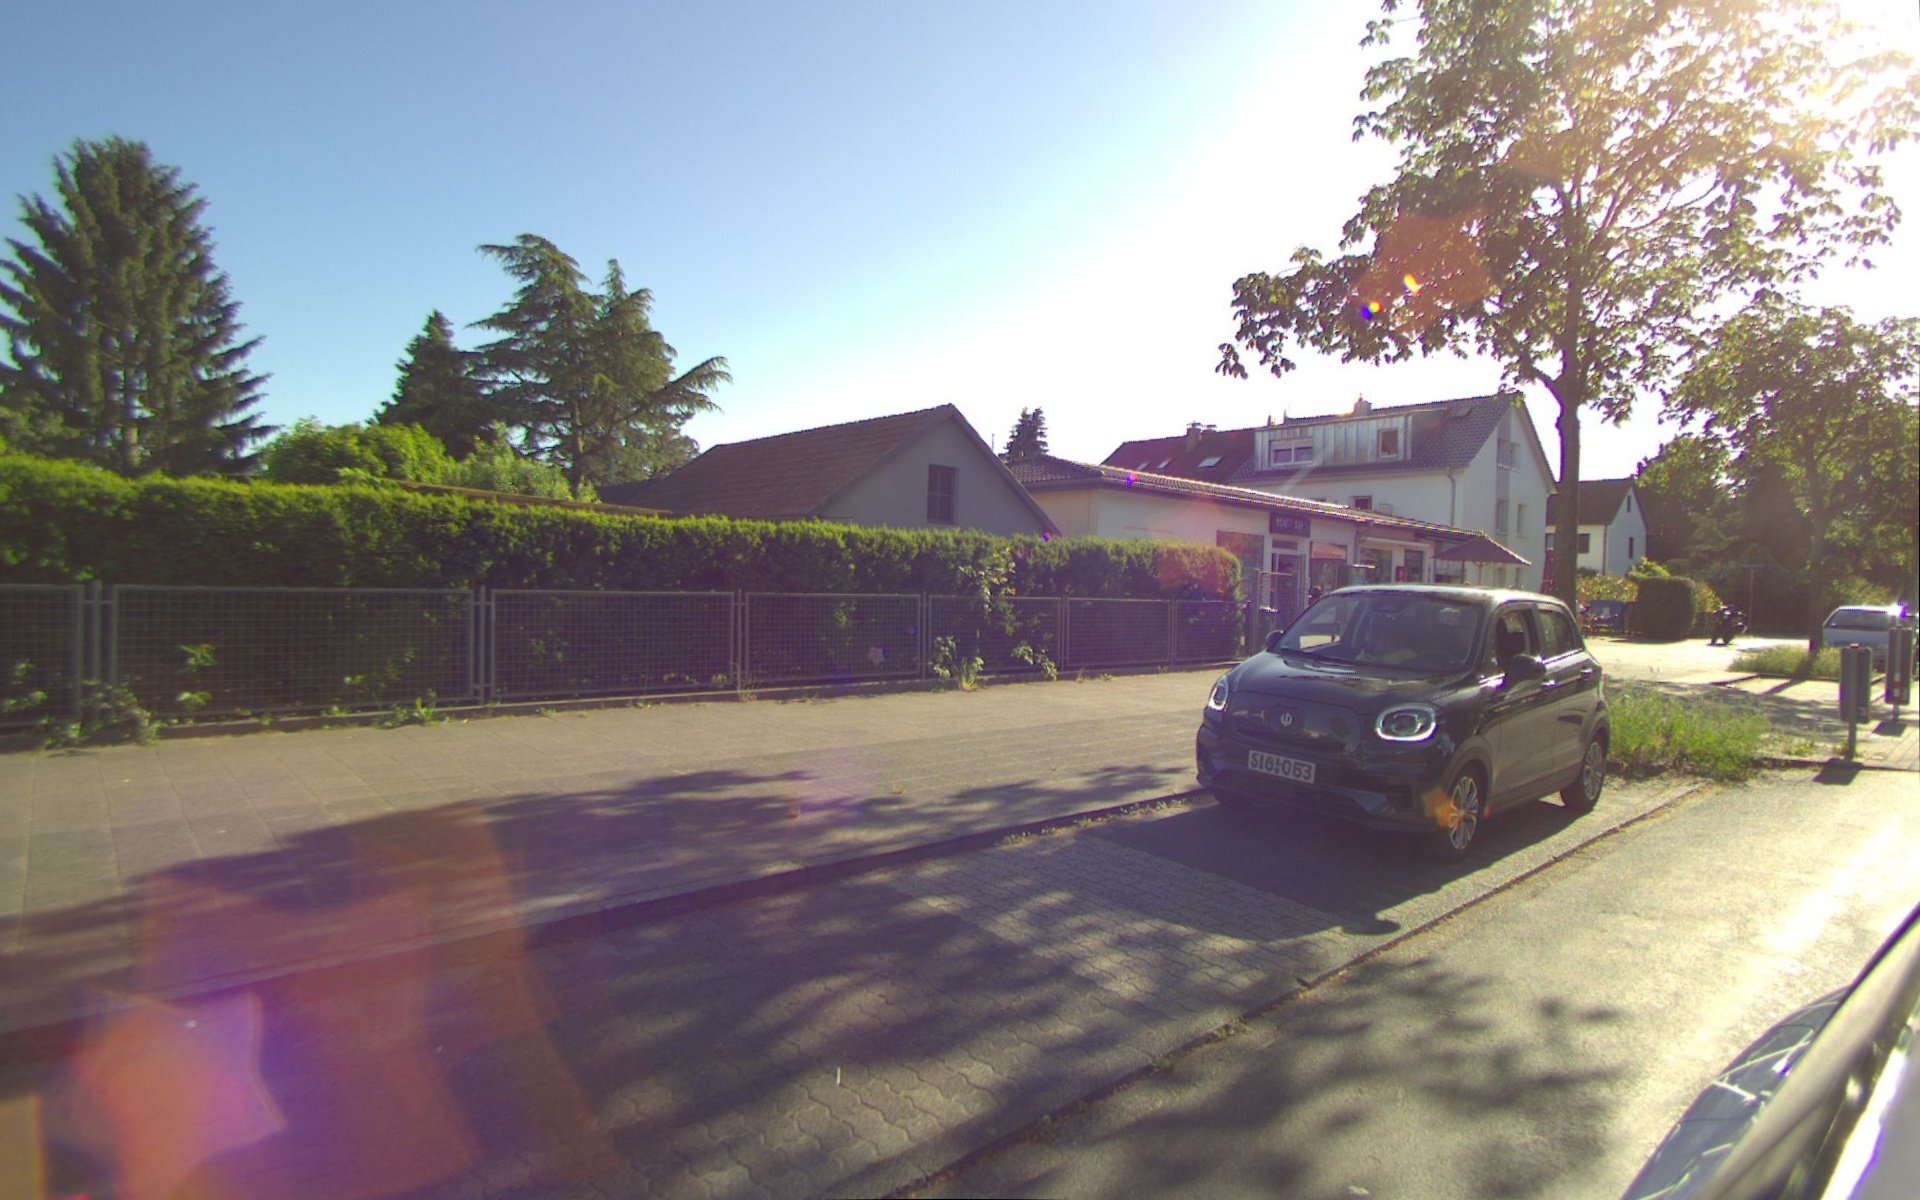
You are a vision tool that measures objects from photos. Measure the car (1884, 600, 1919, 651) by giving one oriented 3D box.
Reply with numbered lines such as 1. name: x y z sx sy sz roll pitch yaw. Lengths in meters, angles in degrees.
1. car: 30.481 0.813 31.854 3.792 1.500 1.731 1 1 -43

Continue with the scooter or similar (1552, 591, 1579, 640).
1. scooter or similar: 16.595 0.407 27.723 0.501 1.311 0.454 3 2 44

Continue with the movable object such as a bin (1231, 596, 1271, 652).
1. movable object such as a bin: 5.356 0.439 18.637 0.518 0.988 0.459 0 3 -43

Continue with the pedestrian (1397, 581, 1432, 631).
1. pedestrian: 12.593 0.156 28.051 0.564 1.338 0.641 0 4 -42

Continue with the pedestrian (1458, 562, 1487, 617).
1. pedestrian: 17.211 -0.348 33.981 0.722 1.831 0.671 0 0 -42

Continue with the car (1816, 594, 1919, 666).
1. car: 22.956 0.696 25.272 3.788 1.596 1.733 0 2 -40

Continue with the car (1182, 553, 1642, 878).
1. car: 3.218 0.571 6.893 3.539 1.593 1.496 0 4 -43

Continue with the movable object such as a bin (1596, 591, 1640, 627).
1. movable object such as a bin: 24.737 0.322 38.042 0.913 1.310 1.170 0 3 -43

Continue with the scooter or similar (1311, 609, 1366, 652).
1. scooter or similar: 7.223 0.568 19.293 1.208 0.725 0.450 0 5 -43

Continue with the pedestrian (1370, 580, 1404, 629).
1. pedestrian: 12.099 0.122 28.648 0.564 1.338 0.641 0 4 -42

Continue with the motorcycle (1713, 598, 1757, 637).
1. motorcycle: 26.441 0.577 34.525 2.306 1.270 0.837 0 0 -43
